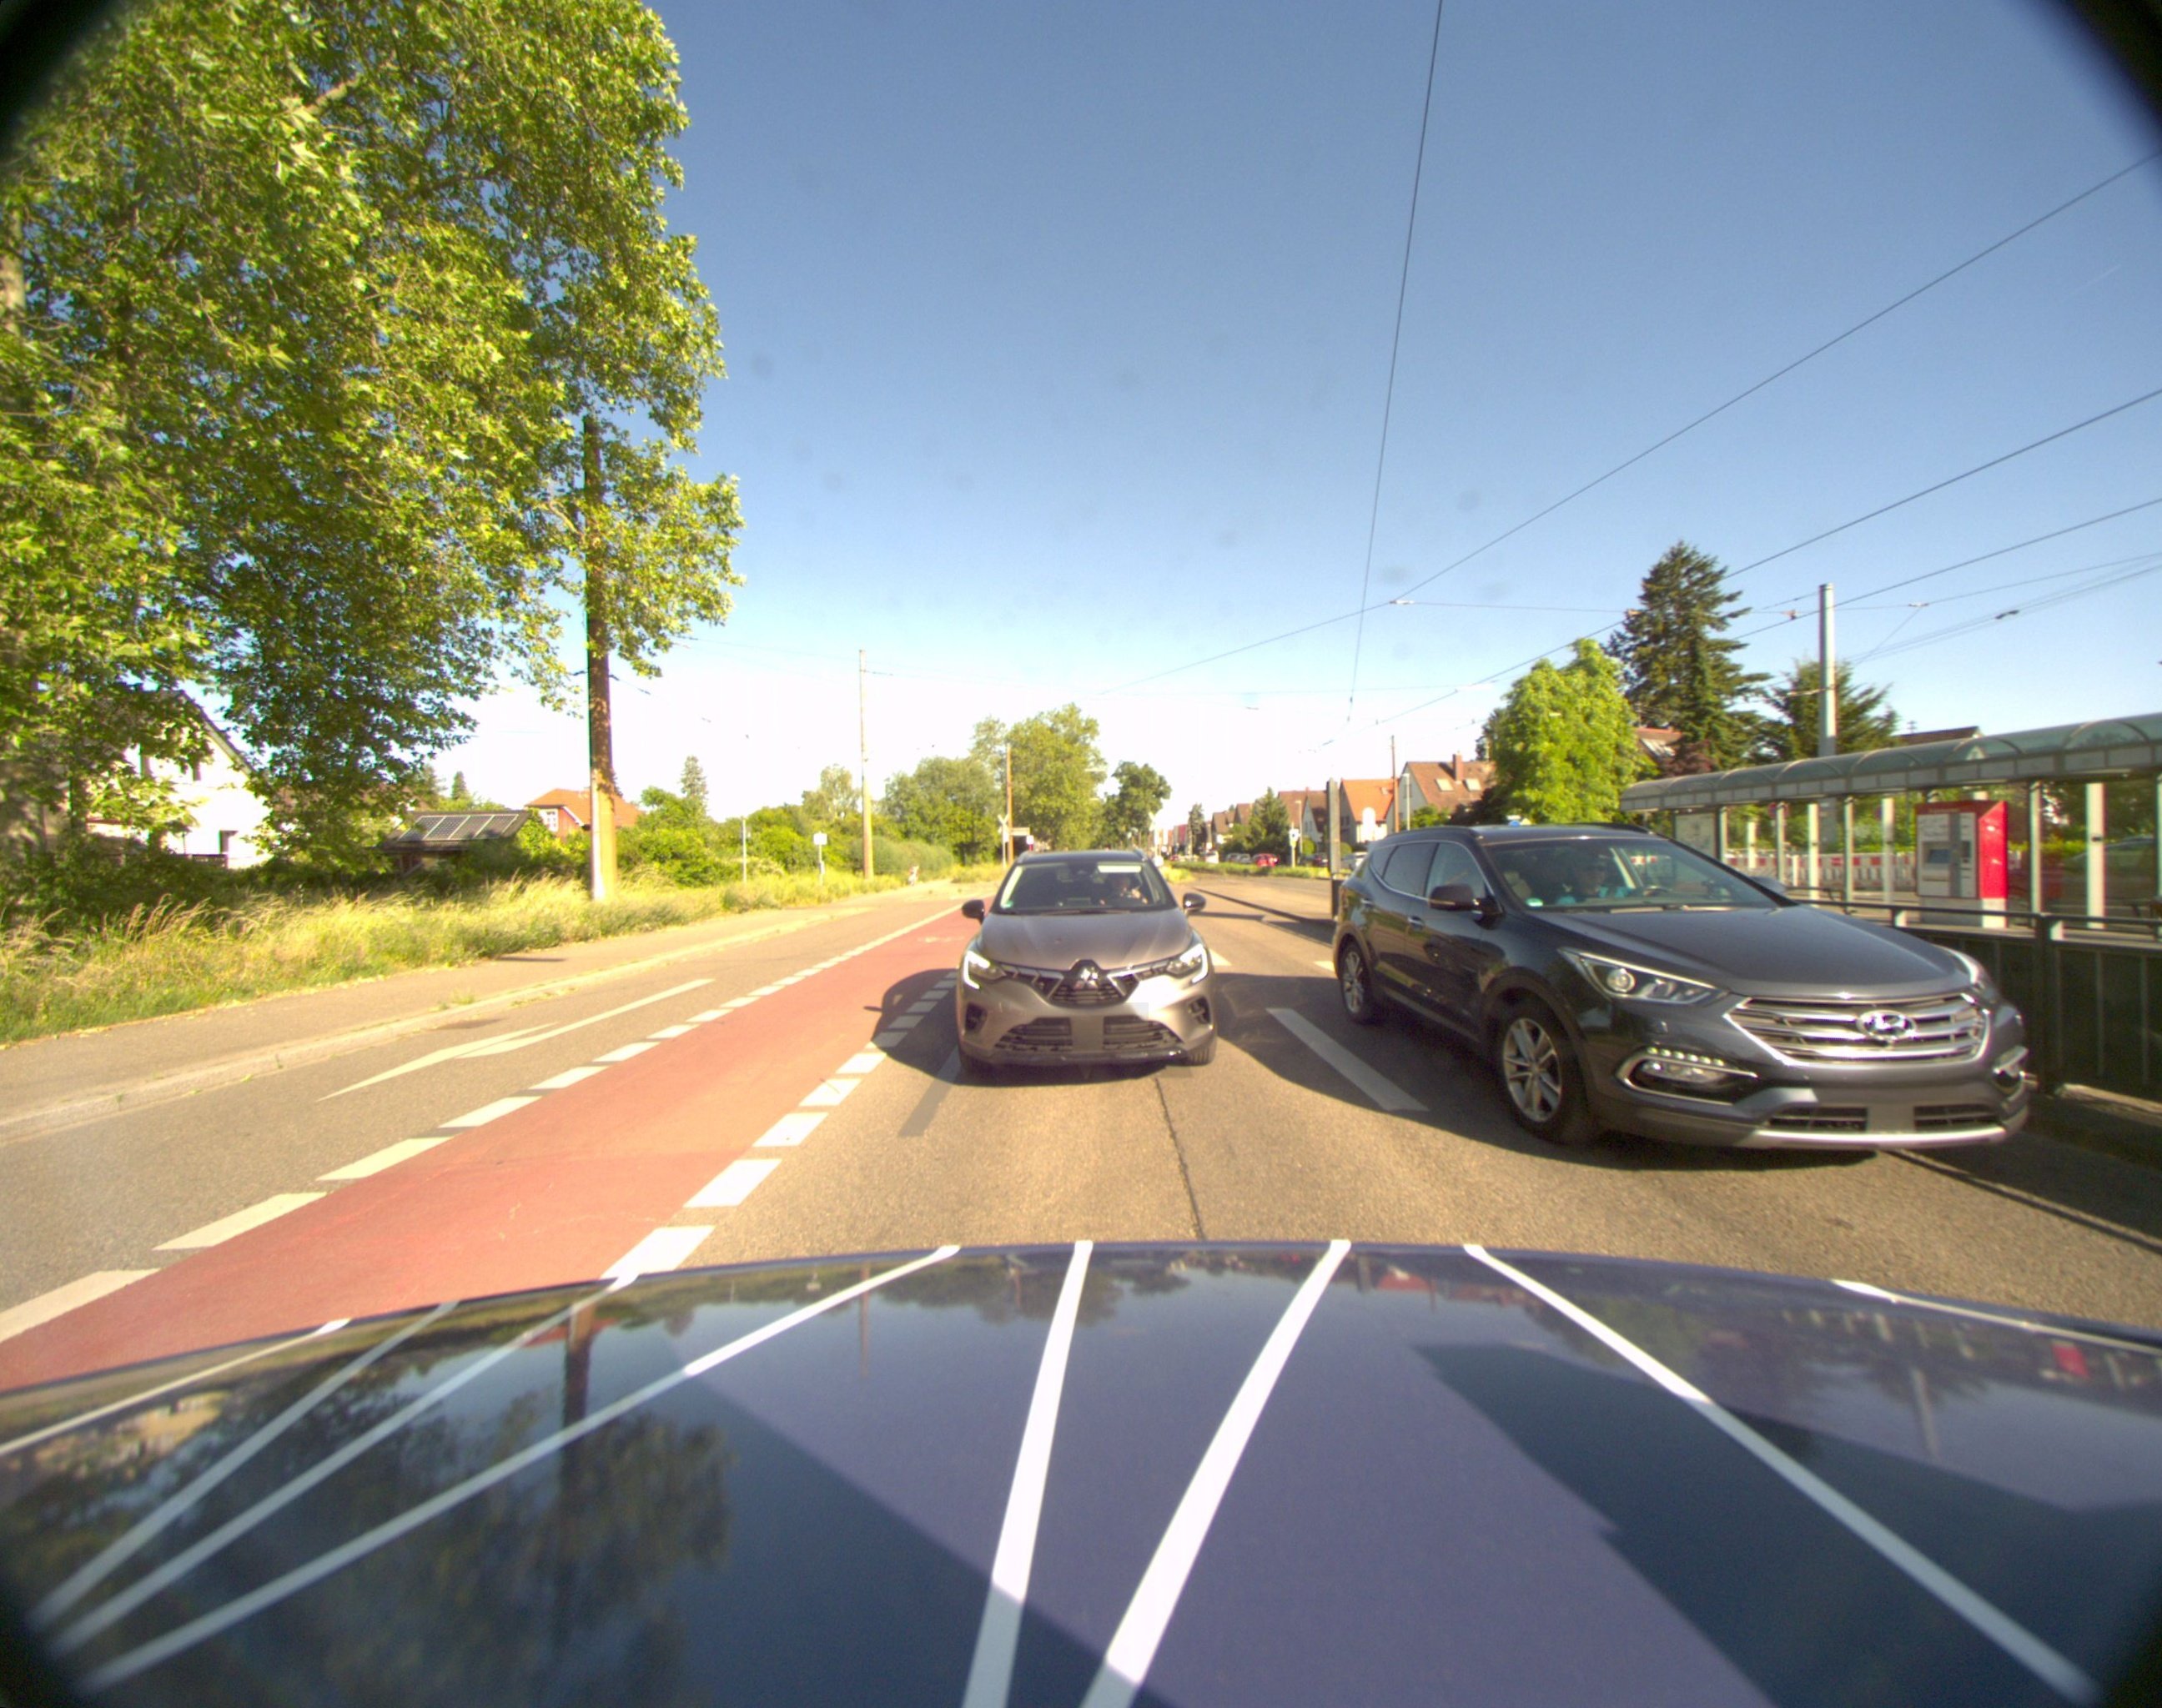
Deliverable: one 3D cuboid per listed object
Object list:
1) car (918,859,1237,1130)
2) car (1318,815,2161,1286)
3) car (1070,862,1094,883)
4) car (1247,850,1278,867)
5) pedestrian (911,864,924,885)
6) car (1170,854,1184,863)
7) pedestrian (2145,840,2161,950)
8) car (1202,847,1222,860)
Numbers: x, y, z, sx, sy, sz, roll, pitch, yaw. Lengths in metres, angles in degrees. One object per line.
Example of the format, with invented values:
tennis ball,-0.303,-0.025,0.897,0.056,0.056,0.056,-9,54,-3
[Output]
car,0.005,0.833,6.346,1.839,1.541,3.816,-1,0,1
car,3.184,0.716,4.922,1.886,1.686,4.300,-1,0,-1
car,0.049,1.413,59.118,1.839,1.541,3.815,-1,0,-1
car,16.903,0.402,70.845,1.998,1.455,4.000,-1,0,1
pedestrian,-8.008,1.013,37.222,0.482,1.027,0.454,-1,0,1
car,17.282,0.802,137.112,1.998,1.652,4.000,-1,0,1
pedestrian,14.115,0.513,9.504,0.623,1.406,0.711,-1,0,-1
car,17.319,-0.060,100.791,1.998,1.761,4.000,-1,0,1
